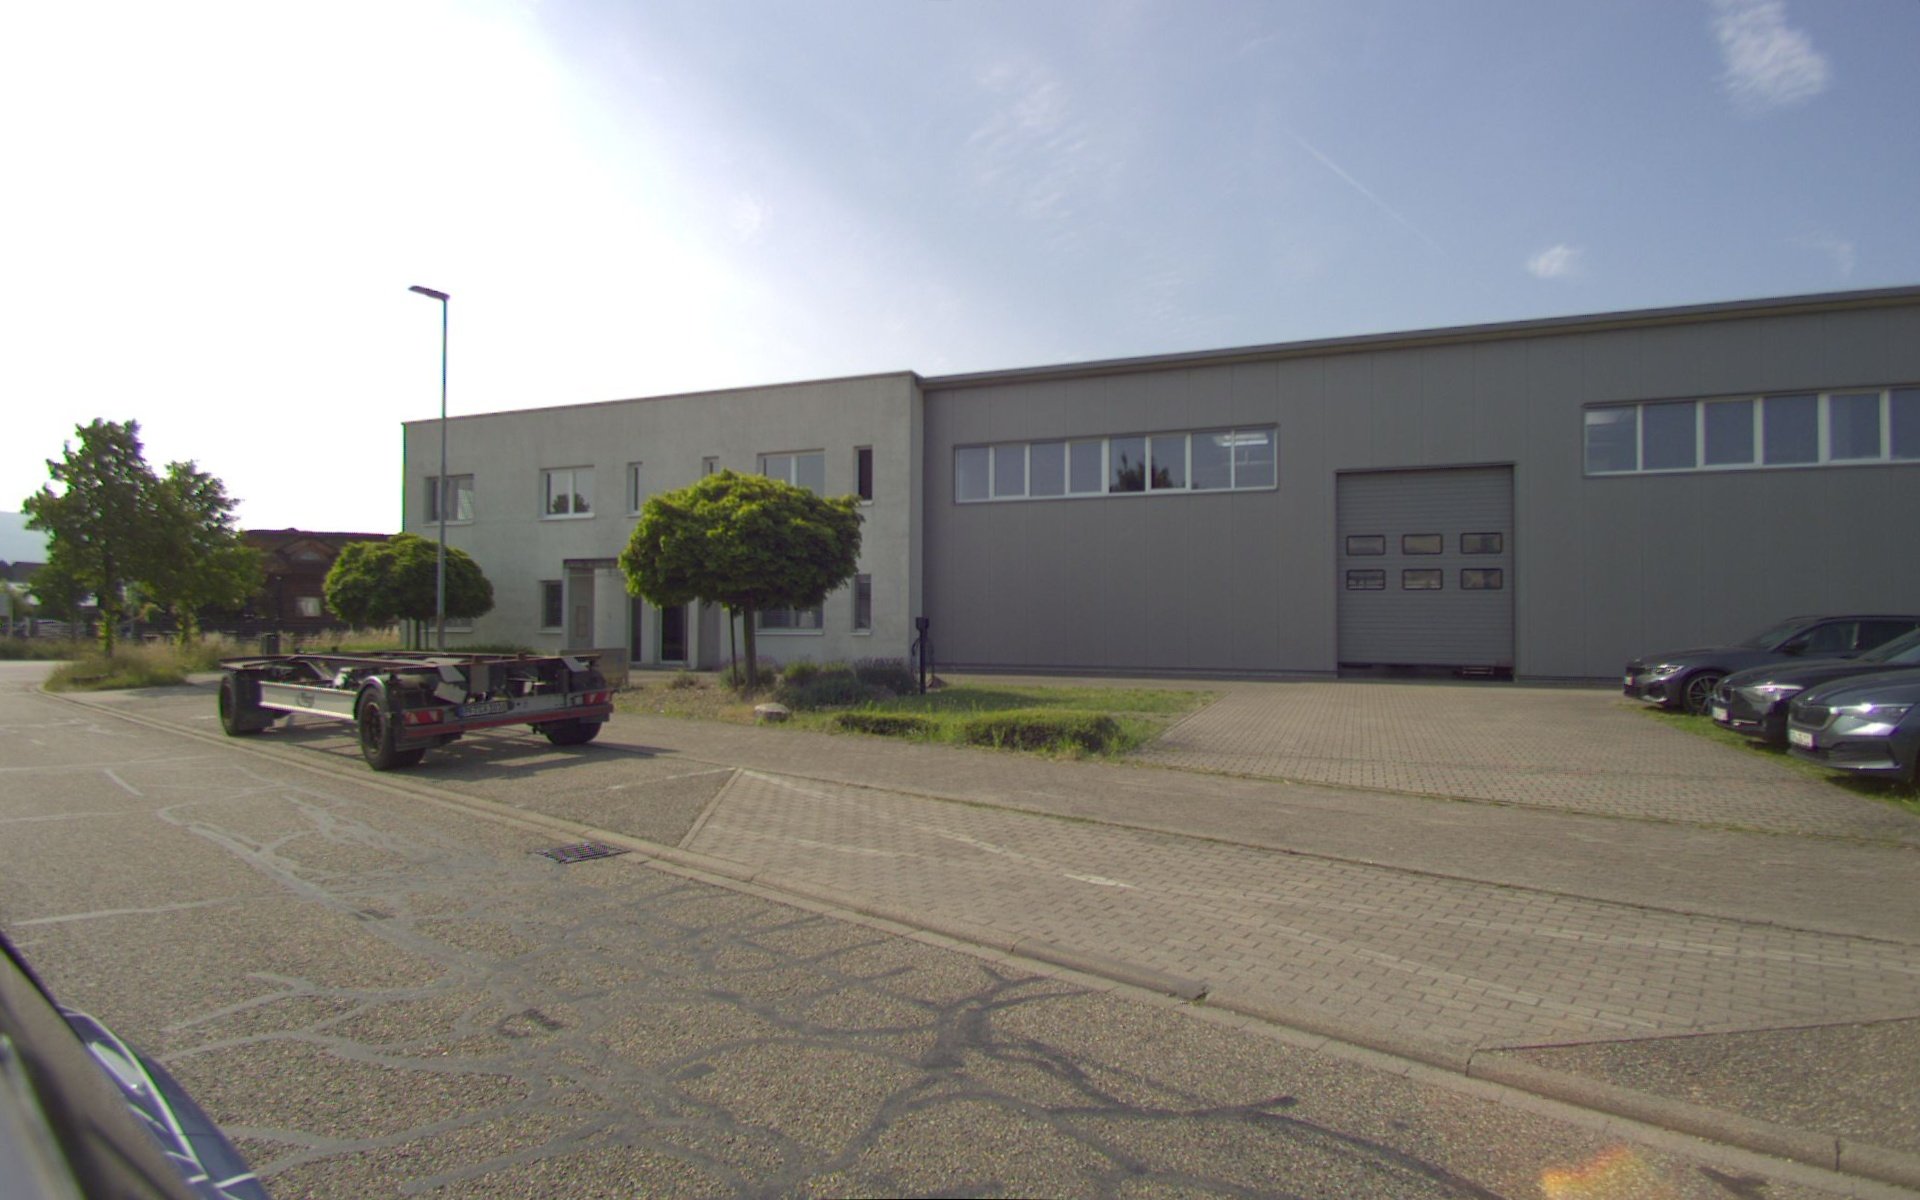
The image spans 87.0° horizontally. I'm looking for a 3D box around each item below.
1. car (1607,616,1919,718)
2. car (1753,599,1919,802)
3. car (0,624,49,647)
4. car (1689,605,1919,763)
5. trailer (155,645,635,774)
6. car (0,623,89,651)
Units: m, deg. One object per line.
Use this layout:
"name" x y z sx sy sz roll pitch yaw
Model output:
"car" 12.058 0.910 14.498 4.319 1.335 1.982 -1 -1 21
"car" 9.043 0.731 7.633 4.393 1.487 1.967 -1 -1 23
"car" -74.564 2.784 79.493 1.984 1.807 3.975 -1 -2 19
"car" 10.129 0.798 10.070 4.319 1.487 1.673 -1 -1 21
"trailer" -8.237 1.226 13.812 9.724 1.082 2.520 -2 -1 41
"car" -57.774 2.306 63.894 1.999 1.741 3.945 -2 -2 41
